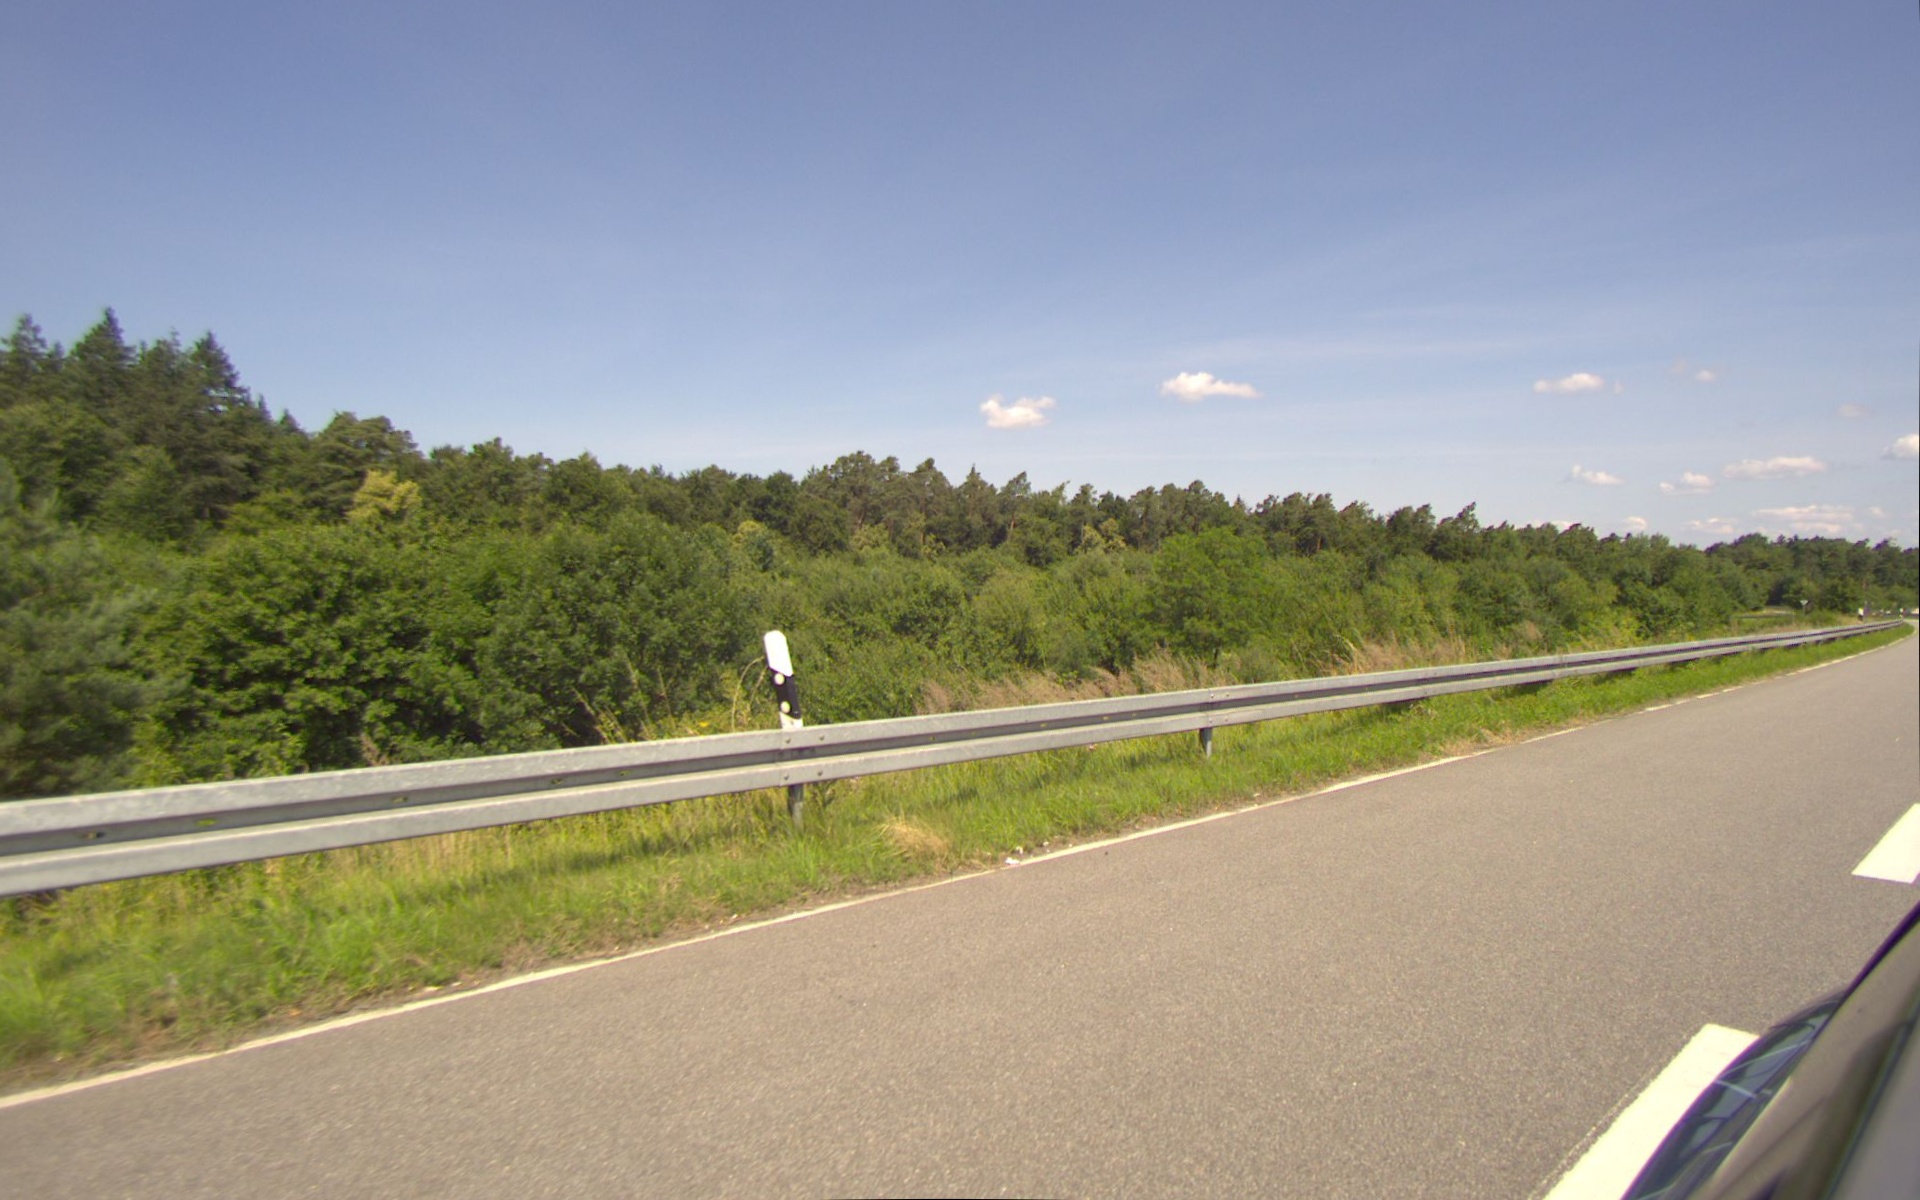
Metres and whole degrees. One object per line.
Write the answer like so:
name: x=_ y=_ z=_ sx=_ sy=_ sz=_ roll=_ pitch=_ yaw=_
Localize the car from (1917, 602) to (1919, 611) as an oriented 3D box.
car: x=167.273 y=1.154 z=175.184 sx=1.674 sy=1.446 sz=4.156 roll=1 pitch=0 yaw=36
